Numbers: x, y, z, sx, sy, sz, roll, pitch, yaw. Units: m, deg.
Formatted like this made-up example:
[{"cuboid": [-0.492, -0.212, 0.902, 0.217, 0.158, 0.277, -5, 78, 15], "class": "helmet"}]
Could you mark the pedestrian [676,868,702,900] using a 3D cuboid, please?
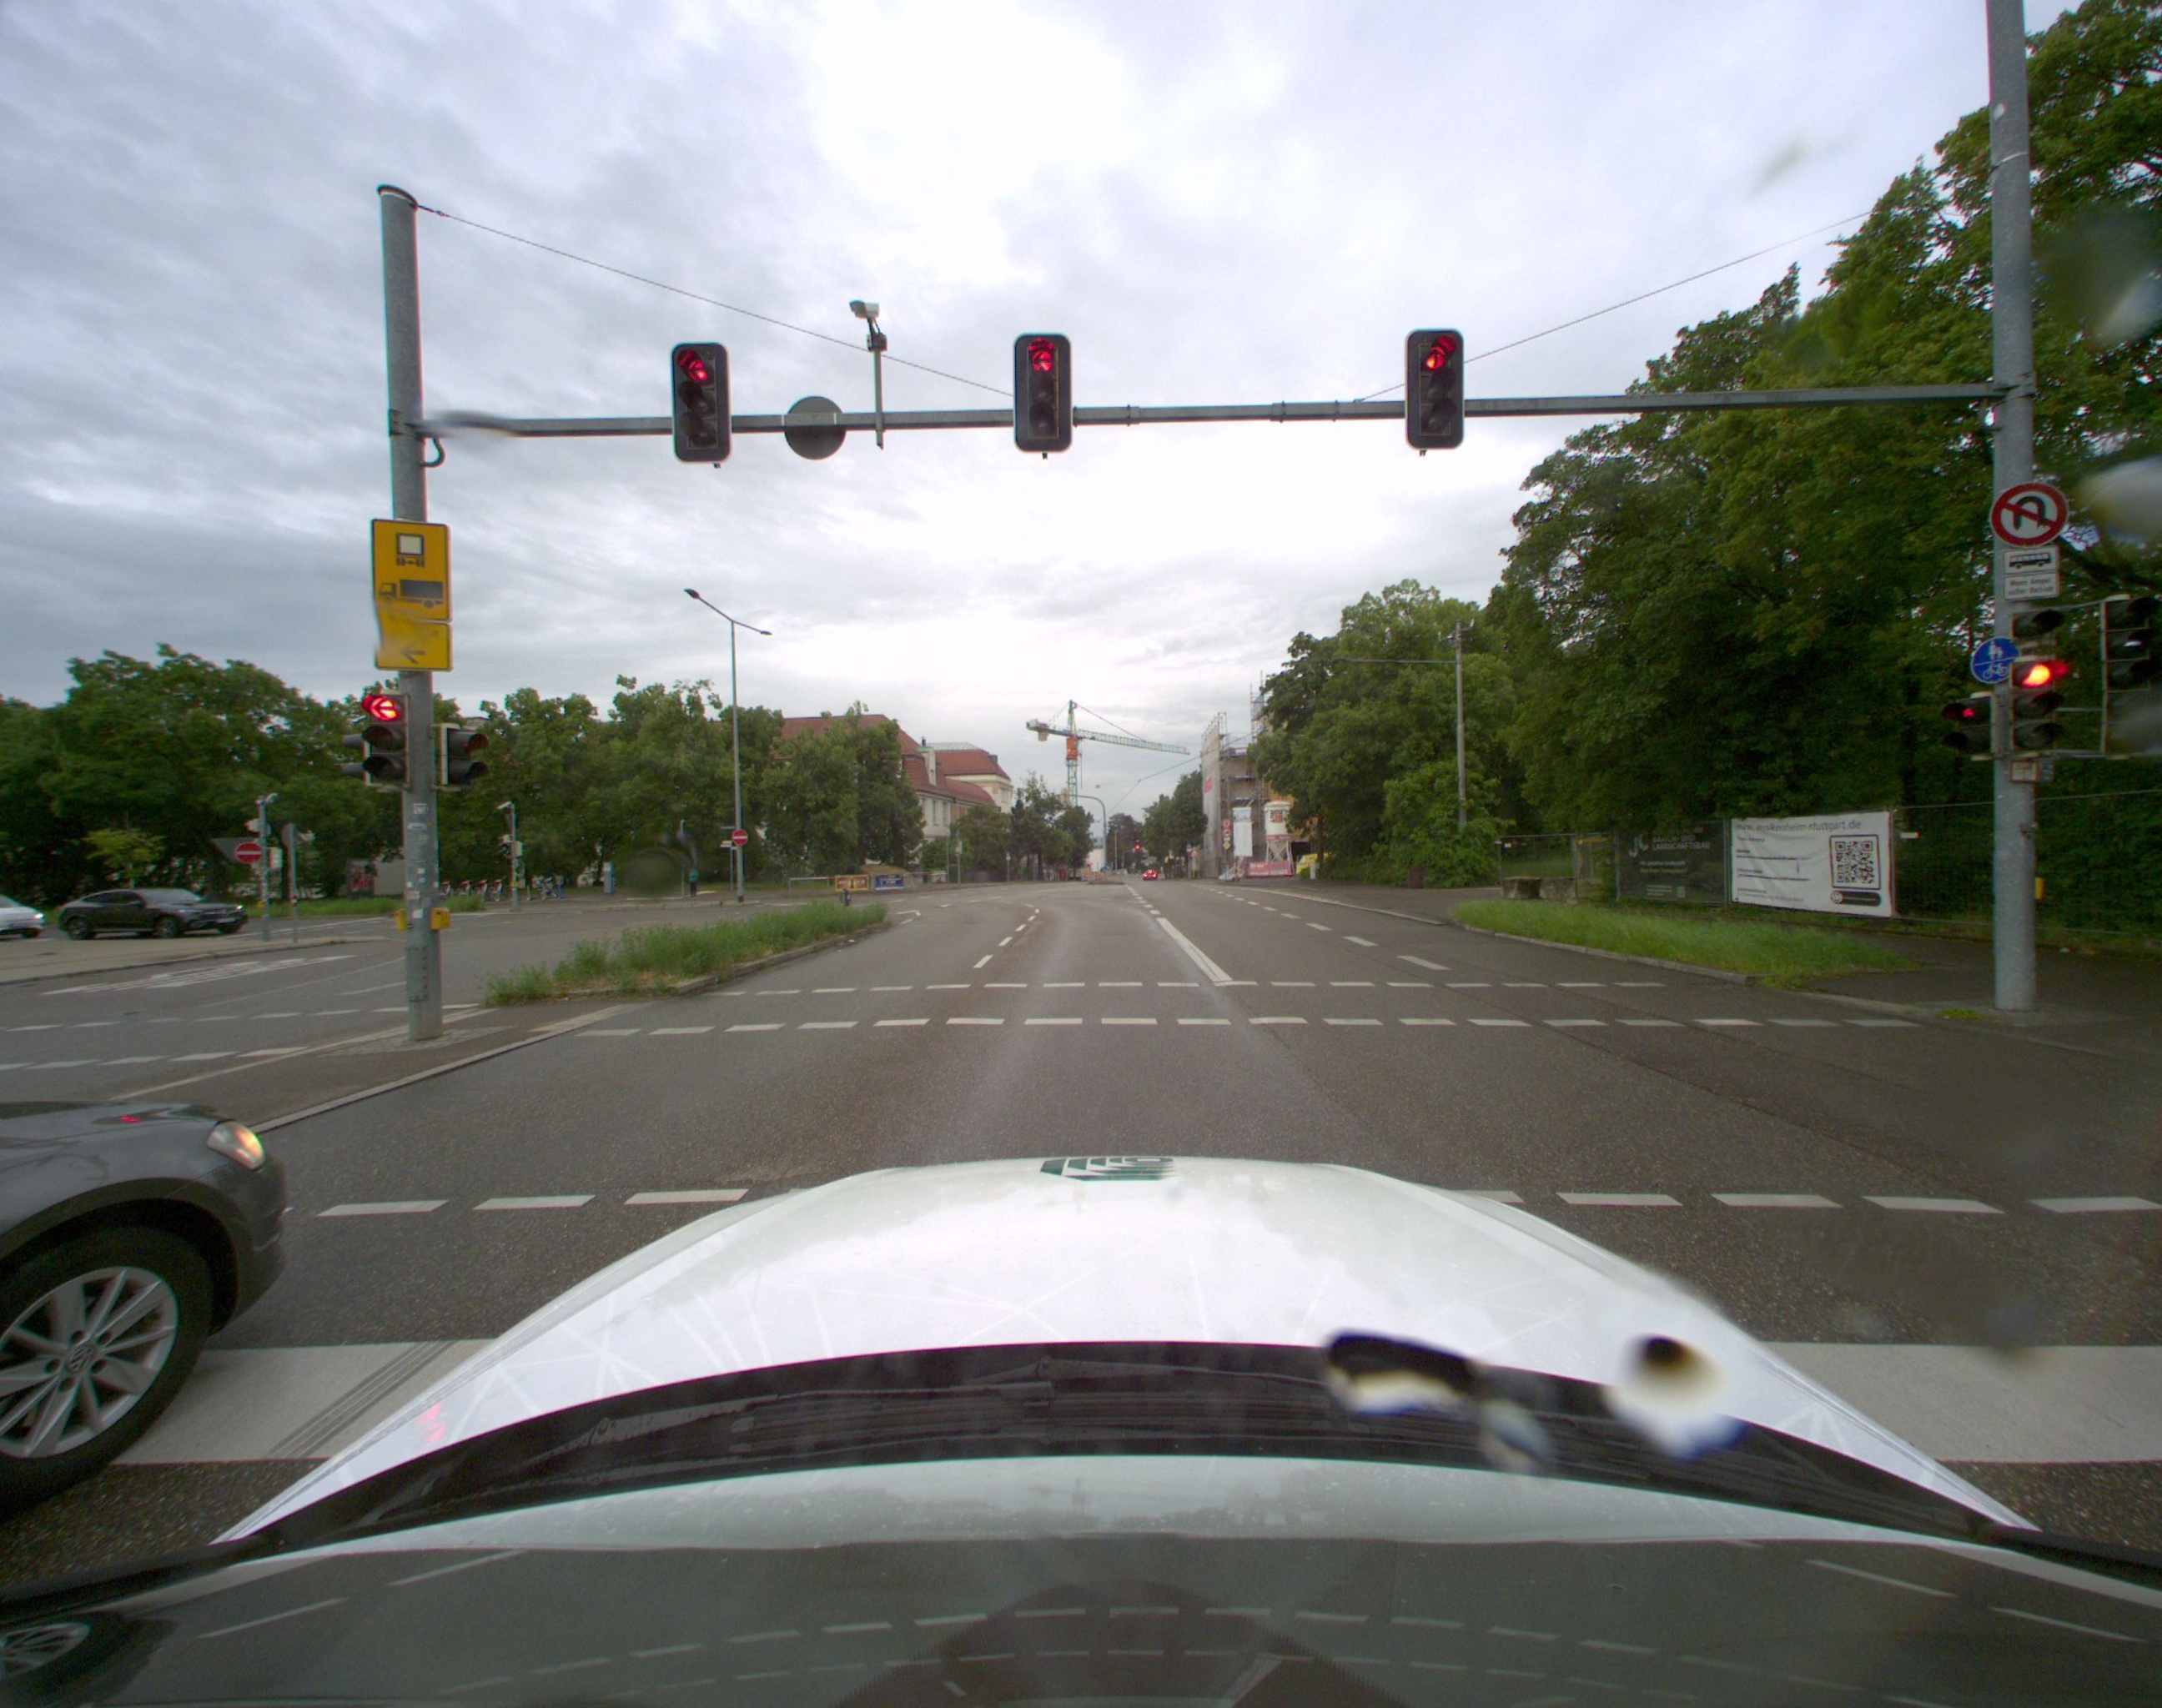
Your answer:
[{"cuboid": [-21.614, 1.633, 44.892, 0.918, 1.727, 0.947, 0, -1, 5], "class": "pedestrian"}]

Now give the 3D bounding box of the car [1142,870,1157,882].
[{"cuboid": [10.461, 3.391, 124.815, 1.986, 1.750, 4.001, -2, 0, 1], "class": "car"}]

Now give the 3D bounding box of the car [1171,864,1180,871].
[{"cuboid": [25.410, 3.531, 218.956, 1.980, 1.750, 4.014, -2, 0, 13], "class": "car"}]

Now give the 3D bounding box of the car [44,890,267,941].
[{"cuboid": [-30.075, 1.985, 26.581, 5.006, 1.500, 2.001, 0, -1, 1], "class": "car"}]

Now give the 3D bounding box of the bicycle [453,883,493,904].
[{"cuboid": [-33.018, 2.121, 44.270, 0.649, 1.071, 1.982, 0, -1, 2], "class": "bicycle"}]

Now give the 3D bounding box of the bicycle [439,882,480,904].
[{"cuboid": [-33.907, 2.117, 44.445, 0.649, 1.071, 1.982, 0, -1, 2], "class": "bicycle"}]

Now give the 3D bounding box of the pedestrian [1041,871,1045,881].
[{"cuboid": [-5.352, 3.126, 113.947, 0.473, 1.396, 0.411, -2, -1, 1], "class": "pedestrian"}]

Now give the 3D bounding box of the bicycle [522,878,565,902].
[{"cuboid": [-29.435, 1.957, 44.610, 0.987, 1.249, 1.982, 0, -1, 2], "class": "bicycle"}]

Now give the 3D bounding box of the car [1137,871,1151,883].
[{"cuboid": [10.217, 3.675, 131.616, 1.986, 1.750, 4.001, -2, 0, 1], "class": "car"}]

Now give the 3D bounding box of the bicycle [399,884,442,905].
[{"cuboid": [-35.963, 2.180, 44.361, 0.649, 1.071, 1.982, 0, -1, 2], "class": "bicycle"}]

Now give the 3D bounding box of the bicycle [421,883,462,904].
[{"cuboid": [-34.986, 2.145, 44.576, 0.649, 1.071, 1.982, 0, -1, 2], "class": "bicycle"}]

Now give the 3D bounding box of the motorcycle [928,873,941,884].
[{"cuboid": [-11.754, 1.970, 65.194, 0.846, 0.877, 0.877, 0, -1, 1], "class": "motorcycle"}]

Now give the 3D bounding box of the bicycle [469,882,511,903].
[{"cuboid": [-32.268, 2.069, 44.502, 0.798, 1.071, 1.982, 0, -1, 2], "class": "bicycle"}]

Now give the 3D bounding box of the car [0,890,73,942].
[{"cuboid": [-36.496, 2.037, 27.045, 3.539, 1.594, 2.001, 0, -1, 1], "class": "car"}]

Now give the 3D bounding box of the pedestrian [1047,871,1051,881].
[{"cuboid": [-4.524, 3.107, 113.910, 0.473, 1.396, 0.411, -2, -1, 1], "class": "pedestrian"}]

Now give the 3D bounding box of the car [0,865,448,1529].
[{"cuboid": [-3.388, 0.802, 0.909, 1.809, 1.481, 4.378, -2, 0, 2], "class": "car"}]

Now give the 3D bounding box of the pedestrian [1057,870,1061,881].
[{"cuboid": [-3.289, 3.214, 121.515, 0.492, 1.645, 0.533, 0, -1, -4], "class": "pedestrian"}]
